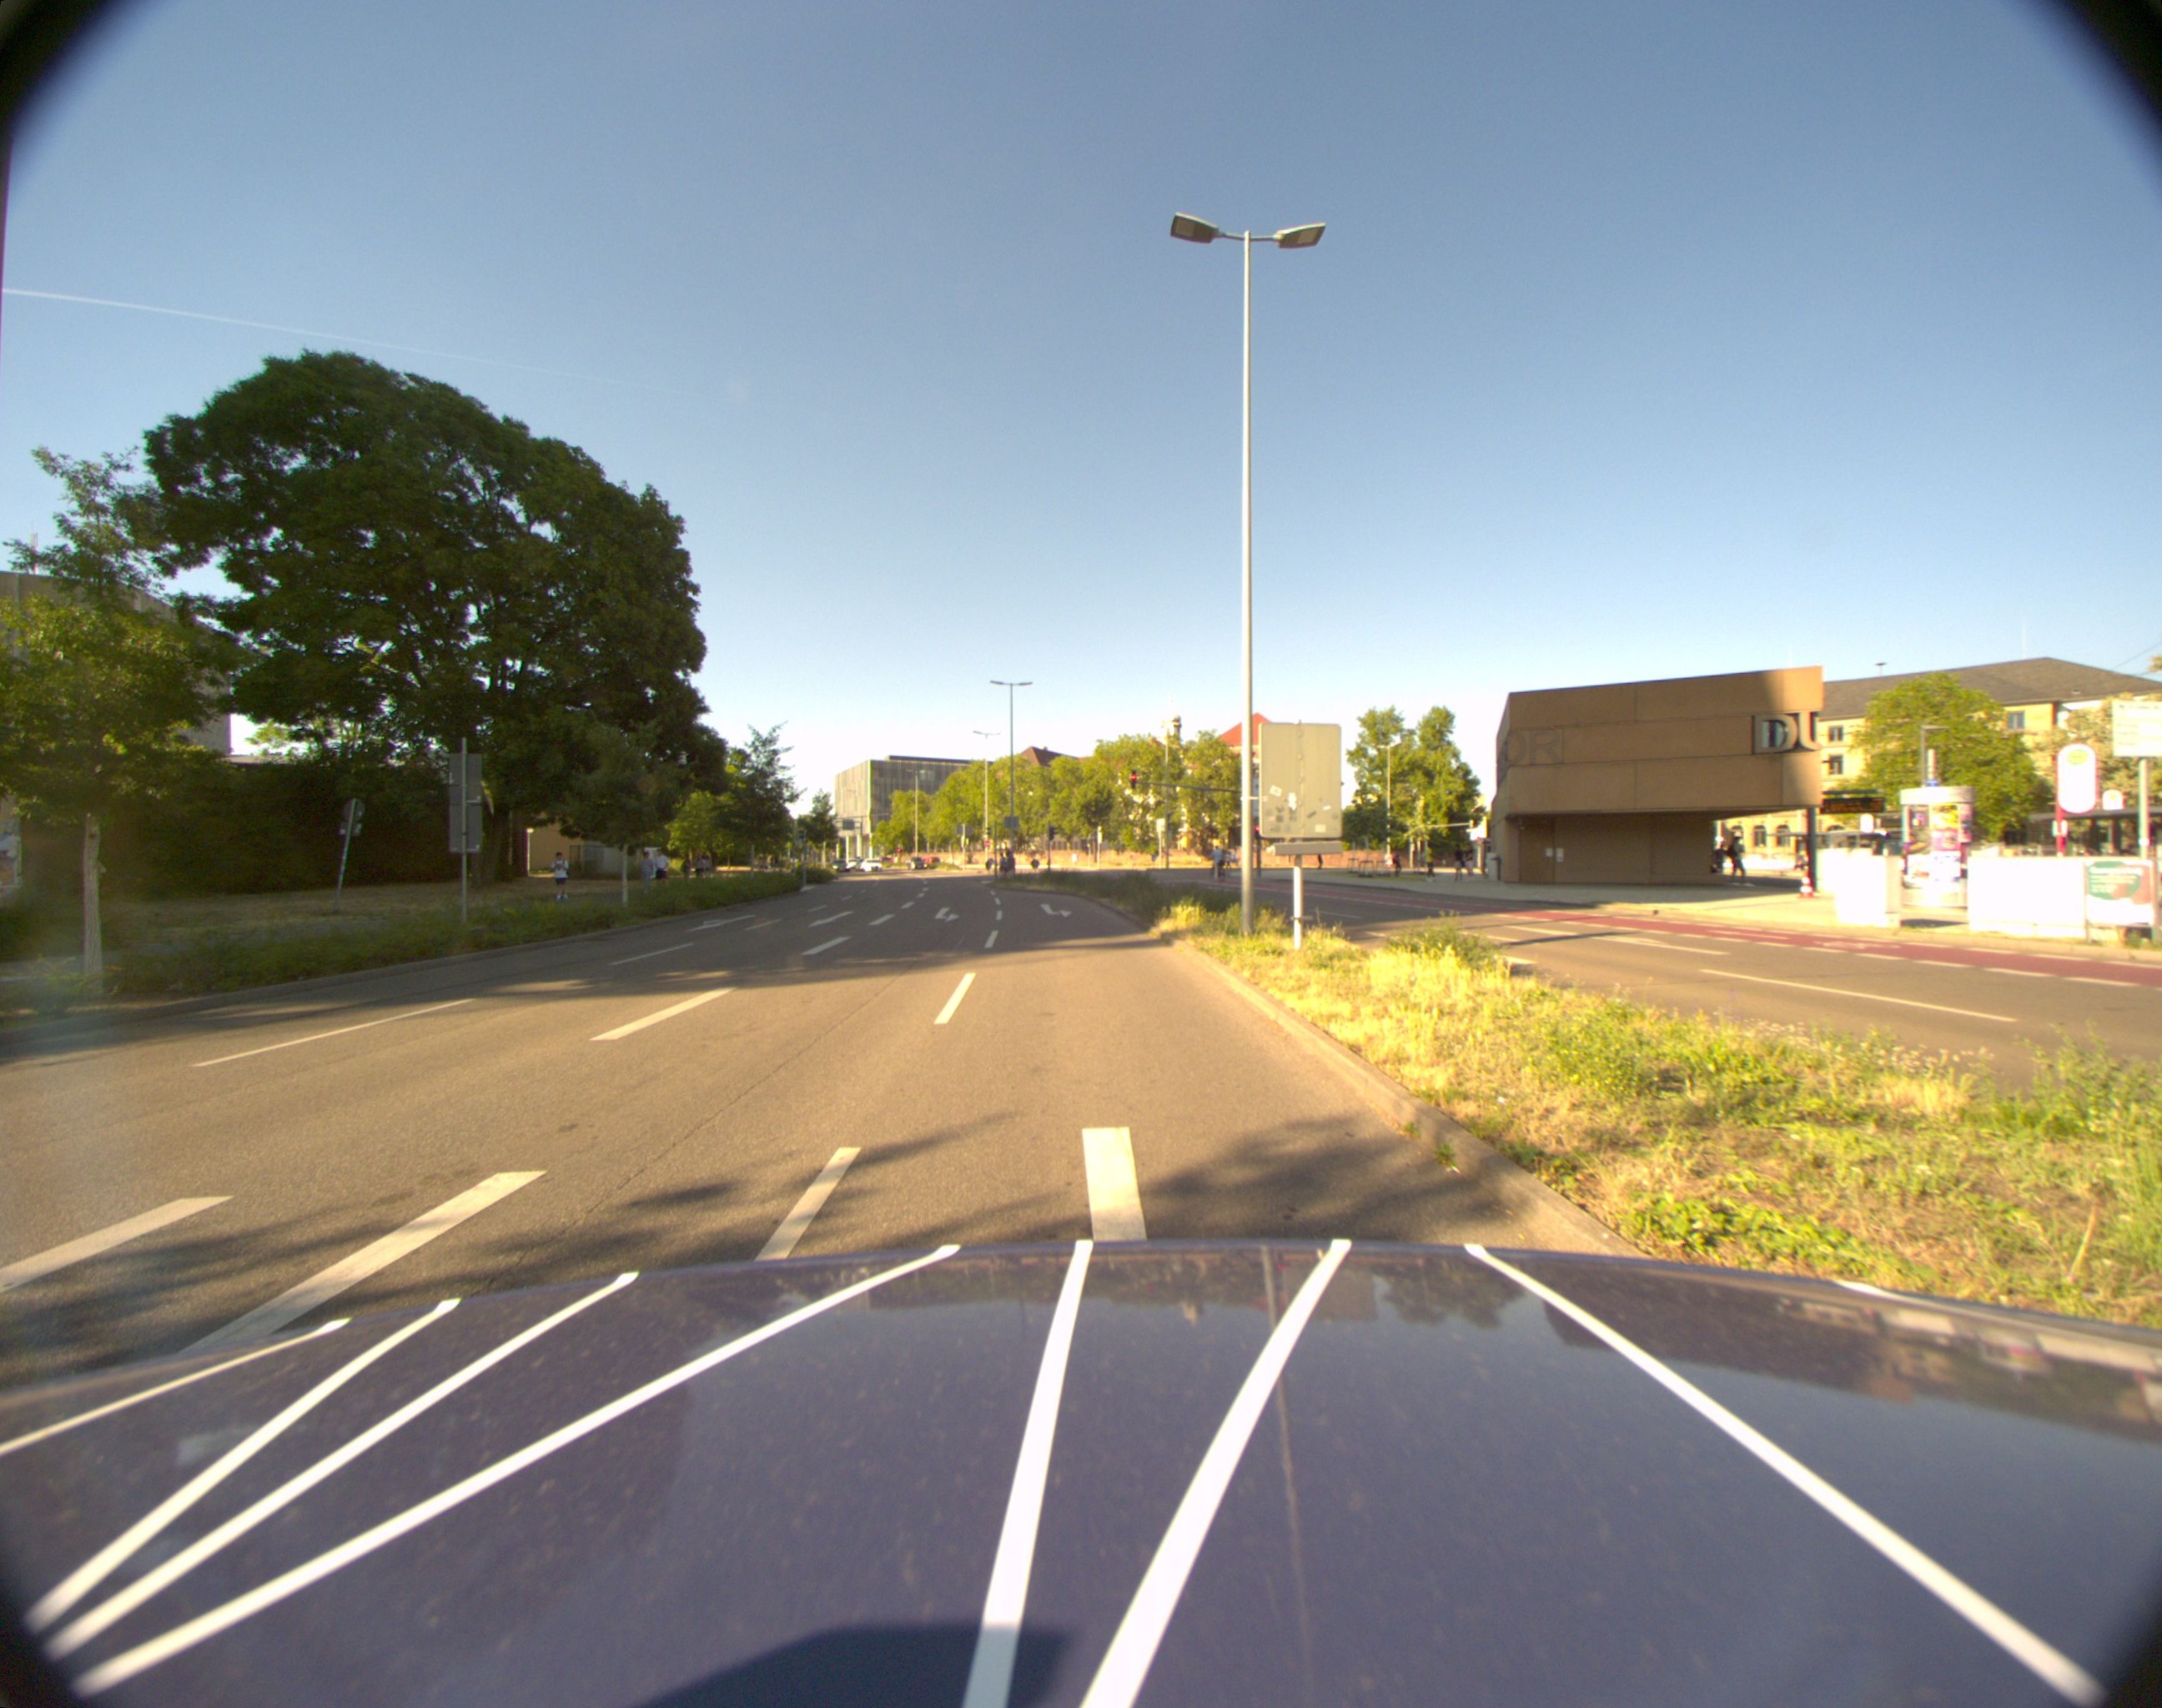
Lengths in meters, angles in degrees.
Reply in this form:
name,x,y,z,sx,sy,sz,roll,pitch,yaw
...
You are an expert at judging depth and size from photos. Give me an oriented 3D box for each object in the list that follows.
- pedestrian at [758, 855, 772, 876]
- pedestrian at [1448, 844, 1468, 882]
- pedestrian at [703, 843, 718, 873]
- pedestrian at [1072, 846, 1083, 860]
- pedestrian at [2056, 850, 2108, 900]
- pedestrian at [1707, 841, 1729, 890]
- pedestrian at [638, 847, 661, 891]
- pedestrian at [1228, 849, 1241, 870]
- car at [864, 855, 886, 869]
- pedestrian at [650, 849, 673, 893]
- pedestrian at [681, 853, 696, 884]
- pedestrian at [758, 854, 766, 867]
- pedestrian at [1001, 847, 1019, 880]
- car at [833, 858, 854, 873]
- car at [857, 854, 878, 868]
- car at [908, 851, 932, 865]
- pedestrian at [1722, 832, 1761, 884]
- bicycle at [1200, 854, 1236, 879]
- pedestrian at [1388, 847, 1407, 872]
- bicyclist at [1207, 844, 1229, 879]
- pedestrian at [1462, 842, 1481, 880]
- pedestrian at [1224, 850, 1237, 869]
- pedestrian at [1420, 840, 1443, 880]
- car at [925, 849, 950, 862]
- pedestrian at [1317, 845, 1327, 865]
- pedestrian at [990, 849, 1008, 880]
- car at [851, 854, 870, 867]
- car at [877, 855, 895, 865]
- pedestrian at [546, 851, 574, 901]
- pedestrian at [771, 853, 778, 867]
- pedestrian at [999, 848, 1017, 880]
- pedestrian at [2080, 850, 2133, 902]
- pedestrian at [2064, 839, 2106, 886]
name,x,y,z,sx,sy,sz,roll,pitch,yaw
pedestrian,-27.296,0.978,65.572,1.020,1.739,0.847,0,1,-31
pedestrian,16.958,0.422,34.196,0.638,1.678,0.551,-2,-1,14
pedestrian,-21.493,0.226,44.098,0.677,1.694,0.875,-1,1,-30
pedestrian,-0.413,-0.100,85.820,0.975,1.528,0.921,-1,1,-25
pedestrian,40.272,0.846,30.588,0.994,1.970,0.830,1,0,28
pedestrian,26.462,0.496,31.571,0.613,2.001,0.809,-2,-1,37
pedestrian,-18.465,0.634,32.534,0.575,1.858,0.624,0,1,26
pedestrian,13.909,0.501,68.969,0.873,1.884,0.711,0,4,-12
car,-22.286,0.852,82.217,1.805,1.510,4.423,0,0,-22
pedestrian,-17.979,0.730,32.594,0.575,1.858,0.624,0,1,26
pedestrian,-19.783,0.722,38.308,0.623,1.565,0.638,-1,1,-25
pedestrian,-38.327,0.770,91.364,0.764,1.534,0.845,0,1,-31
pedestrian,-3.805,0.503,40.580,0.928,1.731,0.756,0,1,-10
car,-24.941,1.213,79.813,1.805,1.510,3.992,0,0,-22
car,-25.060,0.785,88.999,1.927,1.510,4.010,0,0,-22
car,-17.755,0.455,83.815,1.927,1.510,4.010,0,0,-22
pedestrian,25.465,0.149,29.321,0.978,1.970,0.720,1,0,26
bicycle,7.180,0.634,39.988,0.743,1.248,2.552,-1,1,-18
pedestrian,20.935,0.348,50.308,0.900,1.675,0.747,-1,0,-10
bicyclist,7.203,0.371,39.874,0.743,1.822,1.012,-1,2,-18
pedestrian,17.985,0.336,34.988,0.734,1.720,0.666,-2,-1,25
pedestrian,13.436,0.490,68.188,0.873,1.665,0.711,0,4,-12
pedestrian,16.040,0.286,34.803,0.718,1.824,0.639,-1,-1,1
car,-19.361,0.275,102.363,2.198,1.576,4.599,-1,-1,-23
pedestrian,20.807,0.085,65.578,0.791,1.644,0.713,2,4,17
pedestrian,-4.625,0.578,42.665,0.928,1.731,0.756,-1,1,-10
car,-27.746,0.772,95.433,1.927,1.510,4.010,0,0,-22
car,-33.684,1.078,131.033,2.198,1.674,4.597,-1,0,-25
pedestrian,-18.013,0.752,26.283,0.623,1.689,0.629,0,1,-17
pedestrian,-36.532,0.741,90.607,0.713,1.703,0.732,-1,1,-25
pedestrian,-3.996,0.555,41.405,0.928,1.731,0.756,-1,1,-10
pedestrian,39.282,0.836,29.124,0.978,1.970,0.720,1,0,28
pedestrian,42.537,0.364,32.191,0.814,1.970,0.756,1,0,28
